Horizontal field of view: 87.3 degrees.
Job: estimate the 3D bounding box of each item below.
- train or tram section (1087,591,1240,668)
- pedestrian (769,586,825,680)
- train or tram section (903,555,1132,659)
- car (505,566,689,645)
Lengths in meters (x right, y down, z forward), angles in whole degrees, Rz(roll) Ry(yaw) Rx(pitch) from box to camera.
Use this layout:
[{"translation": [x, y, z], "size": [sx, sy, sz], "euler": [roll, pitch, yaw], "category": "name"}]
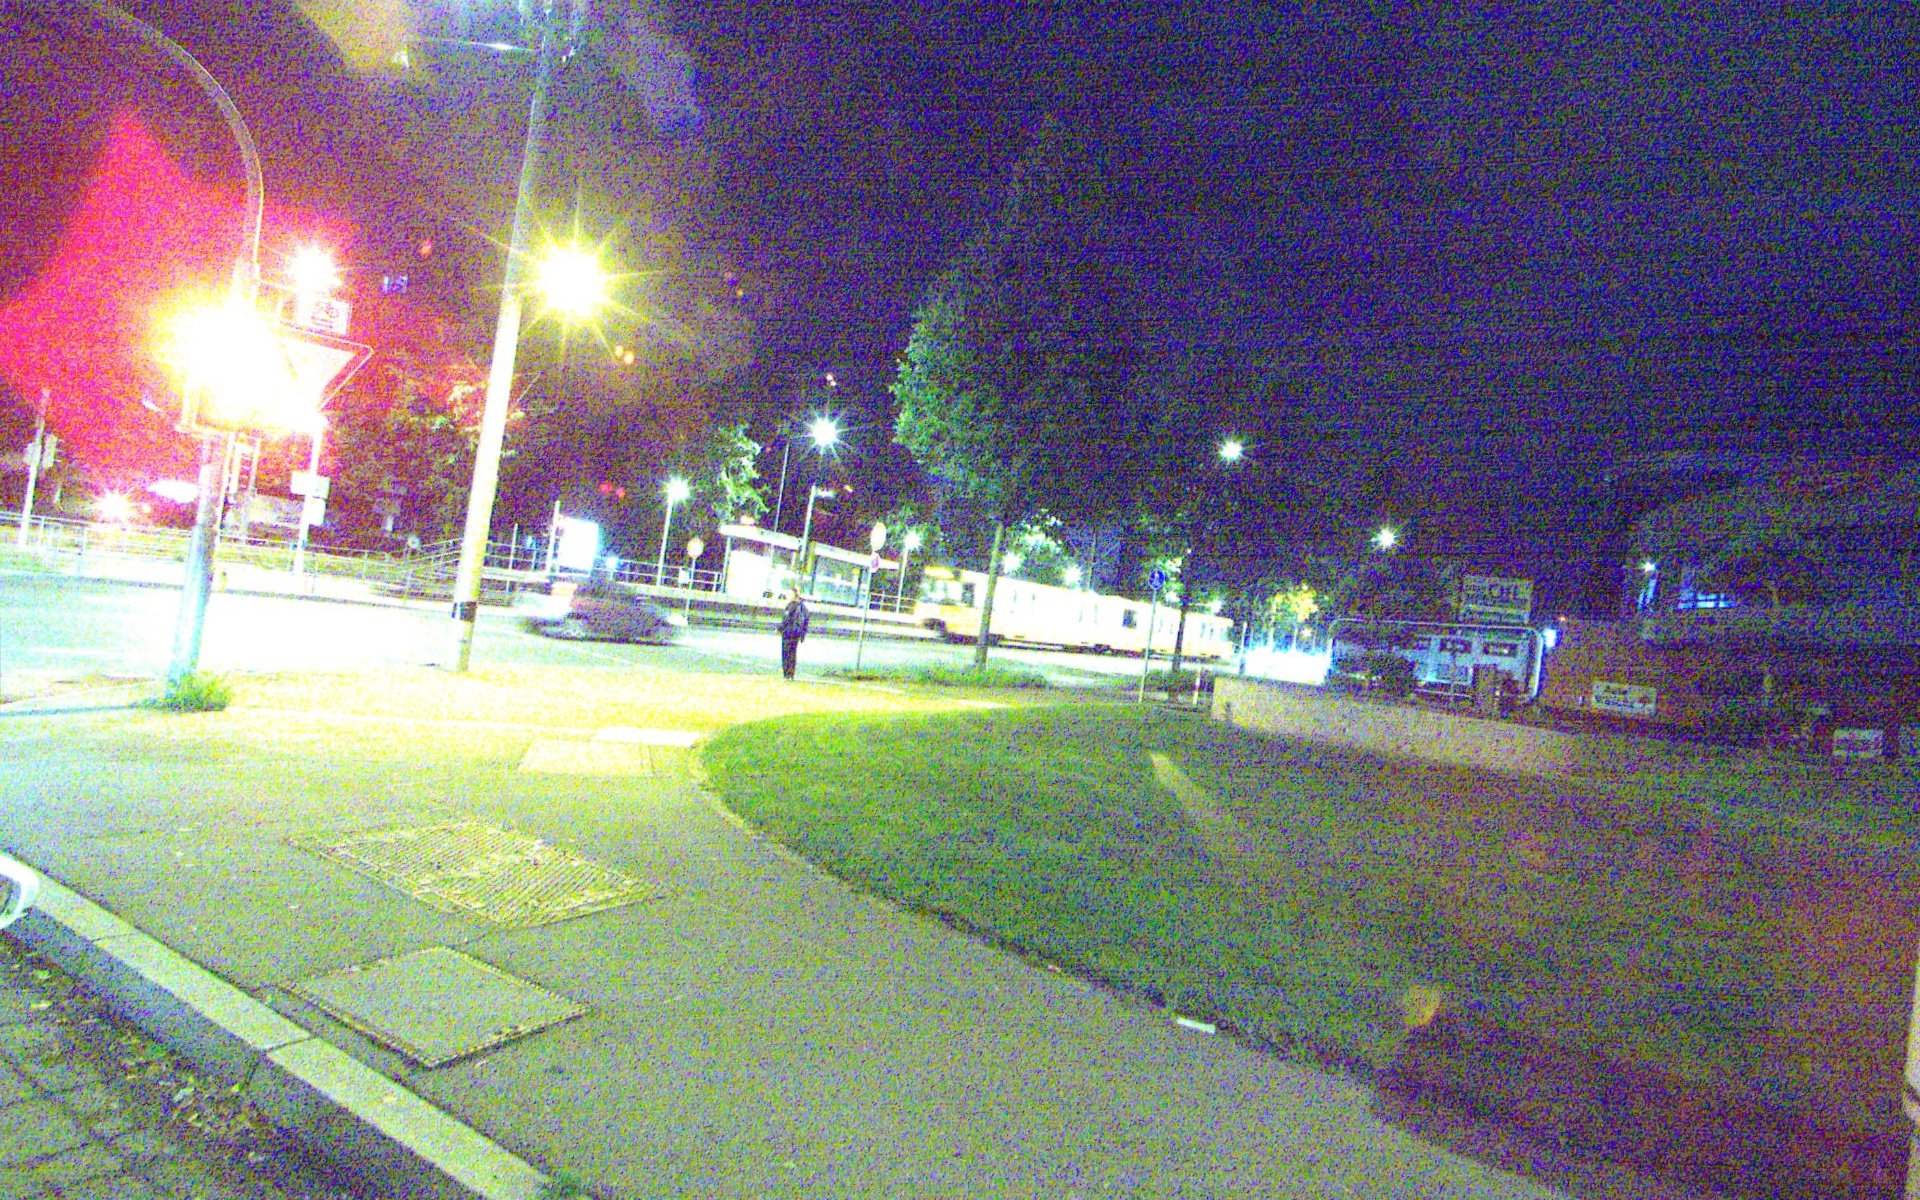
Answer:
[{"translation": [14.817, 2.345, 70.635], "size": [2.919, 3.894, 18.866], "euler": [5, -2, 35], "category": "train or tram section"}, {"translation": [-3.048, 0.604, 18.763], "size": [0.867, 1.677, 0.835], "euler": [3, 1, -18], "category": "pedestrian"}, {"translation": [3.929, 0.732, 55.360], "size": [2.918, 3.896, 18.427], "euler": [8, 0, 35], "category": "train or tram section"}, {"translation": [-8.391, 0.166, 23.509], "size": [1.617, 1.438, 3.687], "euler": [7, 0, 35], "category": "car"}]
